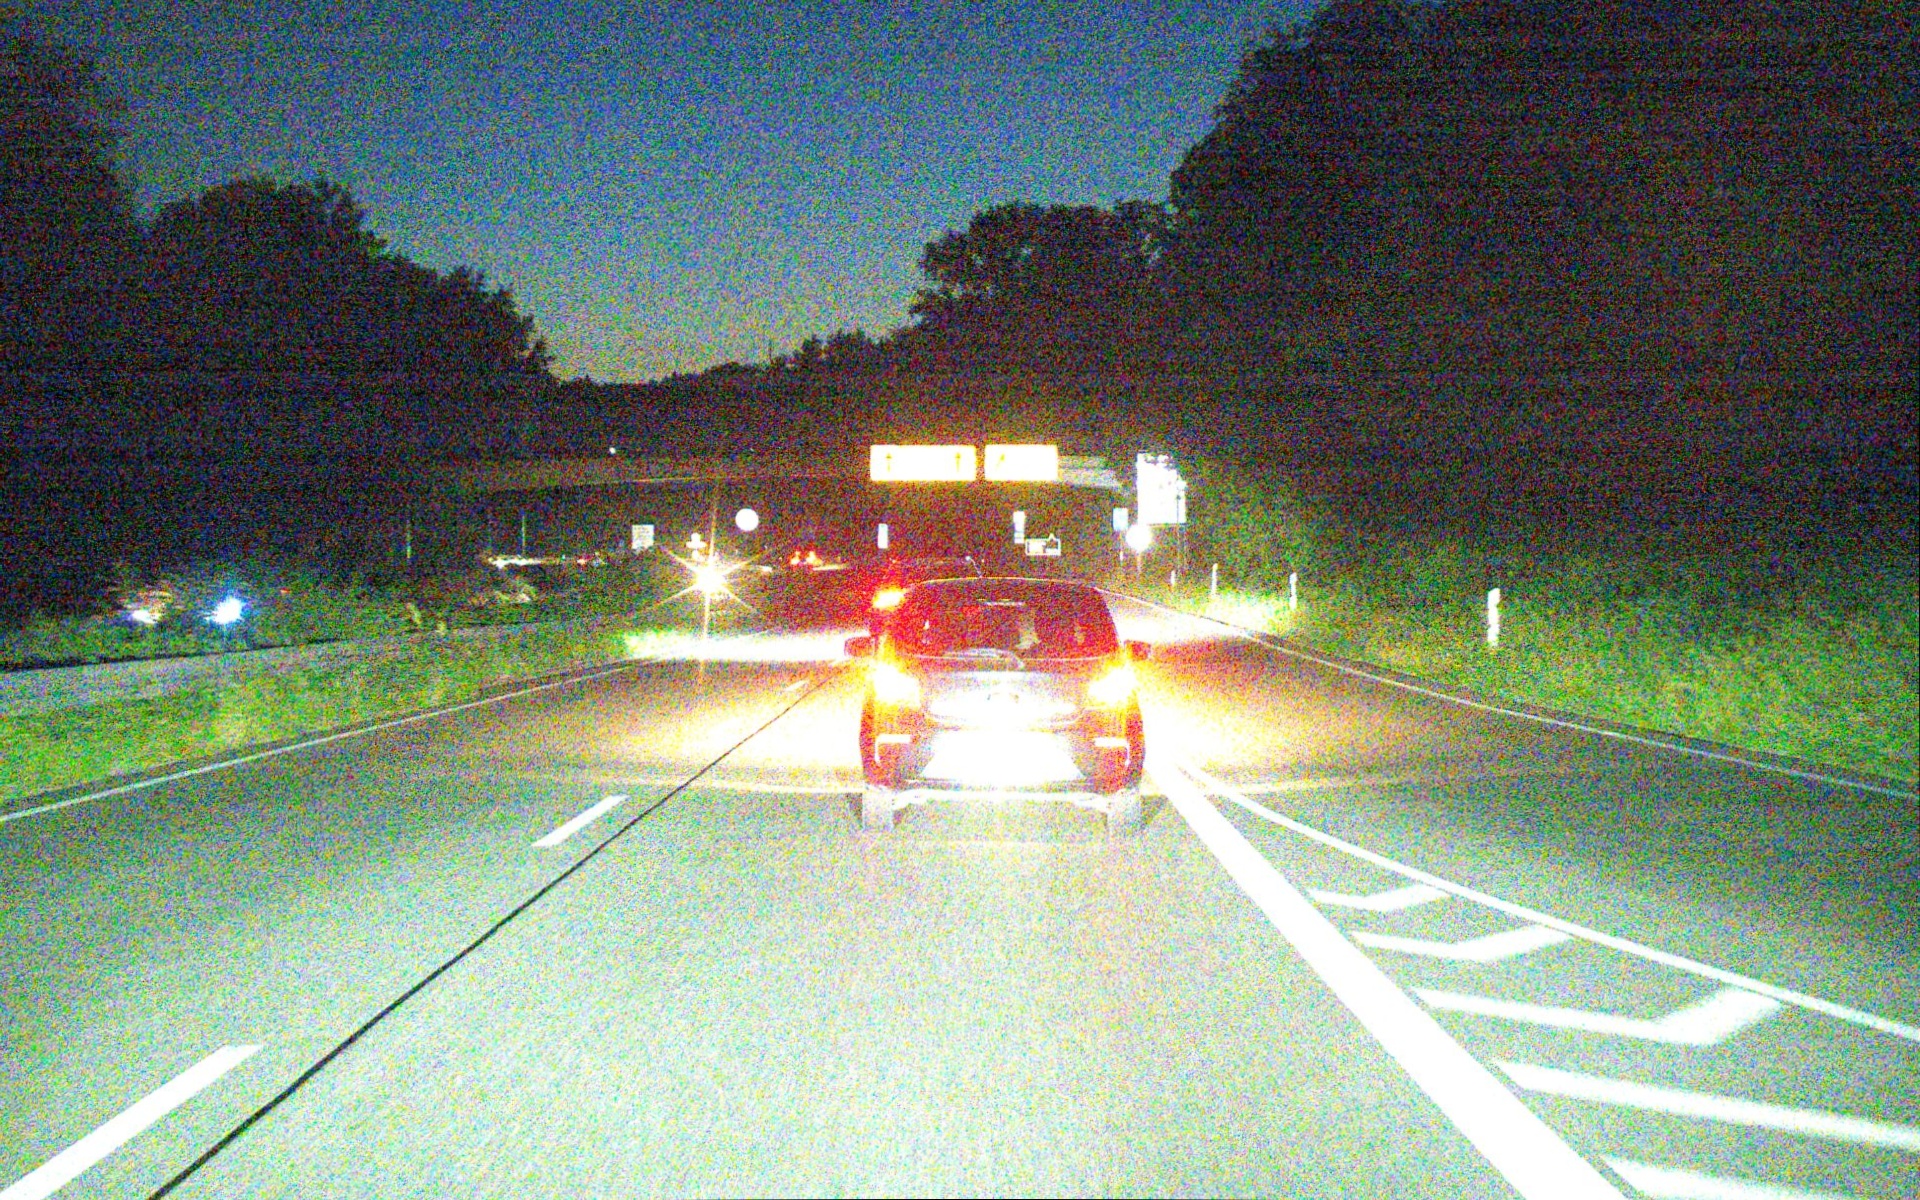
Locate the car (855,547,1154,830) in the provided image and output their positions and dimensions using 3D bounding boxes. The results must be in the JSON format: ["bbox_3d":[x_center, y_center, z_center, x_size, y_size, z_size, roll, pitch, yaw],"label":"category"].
[{"bbox_3d":[0.208,0.460,20.846,1.588,1.503,4.000,2,1,-1],"label":"car"}]

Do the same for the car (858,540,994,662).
[{"bbox_3d":[-0.479,-0.023,50.473,1.906,1.692,4.000,1,1,0],"label":"car"}]

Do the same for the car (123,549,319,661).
[{"bbox_3d":[-12.155,0.035,56.886,1.958,1.727,5.079,-1,1,2],"label":"car"}]
